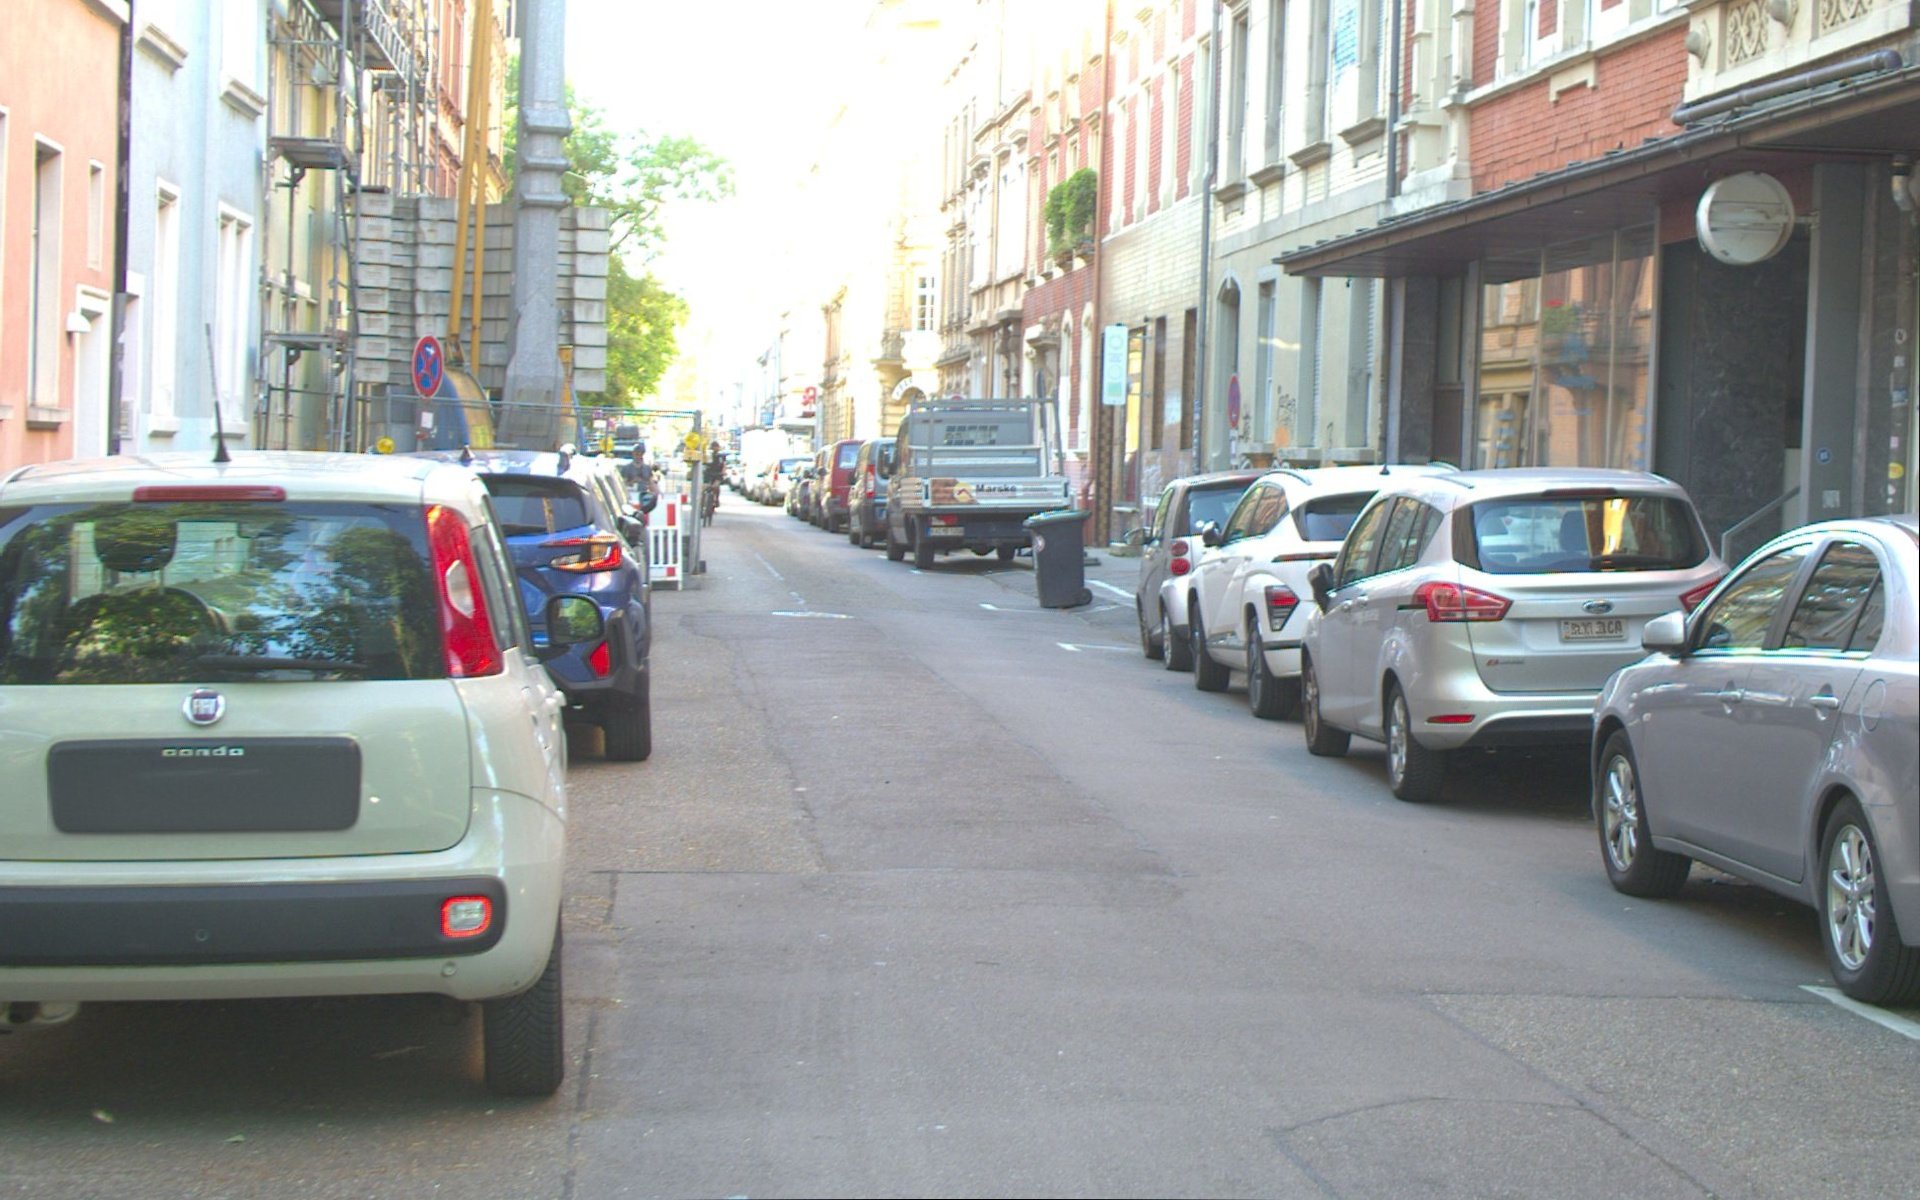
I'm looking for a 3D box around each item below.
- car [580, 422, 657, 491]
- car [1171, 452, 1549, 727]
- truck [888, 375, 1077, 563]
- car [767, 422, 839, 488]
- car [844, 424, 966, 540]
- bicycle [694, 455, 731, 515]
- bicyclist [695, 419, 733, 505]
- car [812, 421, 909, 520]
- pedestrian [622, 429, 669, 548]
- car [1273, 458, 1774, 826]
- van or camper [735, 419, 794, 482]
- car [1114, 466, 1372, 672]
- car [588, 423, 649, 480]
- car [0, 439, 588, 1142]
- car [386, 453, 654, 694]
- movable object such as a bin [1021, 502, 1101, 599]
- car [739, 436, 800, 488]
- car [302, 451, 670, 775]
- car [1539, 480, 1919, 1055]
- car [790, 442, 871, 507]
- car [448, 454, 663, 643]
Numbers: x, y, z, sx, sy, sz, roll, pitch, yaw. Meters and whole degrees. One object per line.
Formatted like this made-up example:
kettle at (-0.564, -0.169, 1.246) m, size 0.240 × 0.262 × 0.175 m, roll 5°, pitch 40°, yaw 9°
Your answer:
car at (-8.069, -3.381, 81.050) m, size 1.674 × 1.565 × 3.870 m, roll 1°, pitch 2°, yaw -7°
car at (2.602, -0.149, 23.373) m, size 1.746 × 1.669 × 4.342 m, roll 1°, pitch 2°, yaw -4°
truck at (0.261, -1.944, 50.497) m, size 2.189 × 2.598 × 5.236 m, roll 0°, pitch 3°, yaw -6°
car at (-5.095, -4.708, 111.143) m, size 1.993 × 2.006 × 4.001 m, roll 2°, pitch 3°, yaw -6°
car at (-1.012, -2.100, 60.938) m, size 1.674 × 1.956 × 4.110 m, roll 1°, pitch 2°, yaw -7°
bicycle at (-5.234, -2.445, 72.684) m, size 0.724 × 1.182 × 2.043 m, roll 2°, pitch 3°, yaw -5°
bicyclist at (-5.188, -2.917, 72.558) m, size 0.730 × 1.755 × 0.835 m, roll 2°, pitch 3°, yaw -5°
car at (-2.148, -2.769, 73.366) m, size 1.674 × 2.024 × 3.870 m, roll 1°, pitch 2°, yaw -7°
pedestrian at (-4.603, -1.641, 50.327) m, size 0.657 × 1.726 × 0.720 m, roll -1°, pitch 2°, yaw -5°
car at (2.769, 0.119, 17.740) m, size 1.640 × 1.650 × 3.870 m, roll 2°, pitch 2°, yaw -4°
van or camper at (-7.959, -6.091, 139.597) m, size 1.993 × 2.499 × 4.204 m, roll 0°, pitch 3°, yaw -9°
car at (2.285, -0.309, 28.606) m, size 1.596 × 1.555 × 3.814 m, roll 1°, pitch 2°, yaw -3°
car at (-11.376, -4.930, 114.301) m, size 1.993 × 1.842 × 4.001 m, roll 0°, pitch 3°, yaw -6°
car at (-1.905, 0.338, 9.454) m, size 1.674 × 1.534 × 3.870 m, roll 0°, pitch 2°, yaw -7°
car at (-3.002, -0.255, 24.121) m, size 1.674 × 1.506 × 4.416 m, roll 1°, pitch 2°, yaw -5°
movable object such as a bin at (1.118, -0.555, 38.311) m, size 0.795 × 1.052 × 0.660 m, roll 1°, pitch 2°, yaw -5°
car at (-6.942, -5.048, 125.095) m, size 1.993 × 1.842 × 4.001 m, roll 0°, pitch 3°, yaw -6°
car at (-2.524, -0.031, 18.538) m, size 1.729 × 1.534 × 4.379 m, roll 0°, pitch 2°, yaw -7°
car at (3.403, 0.430, 11.654) m, size 1.721 × 1.556 × 4.400 m, roll 2°, pitch 3°, yaw -5°
car at (-3.292, -3.171, 86.805) m, size 1.674 × 1.565 × 3.870 m, roll 1°, pitch 2°, yaw -7°
car at (-3.411, -0.499, 29.548) m, size 1.674 × 1.472 × 4.609 m, roll 1°, pitch 2°, yaw -5°
